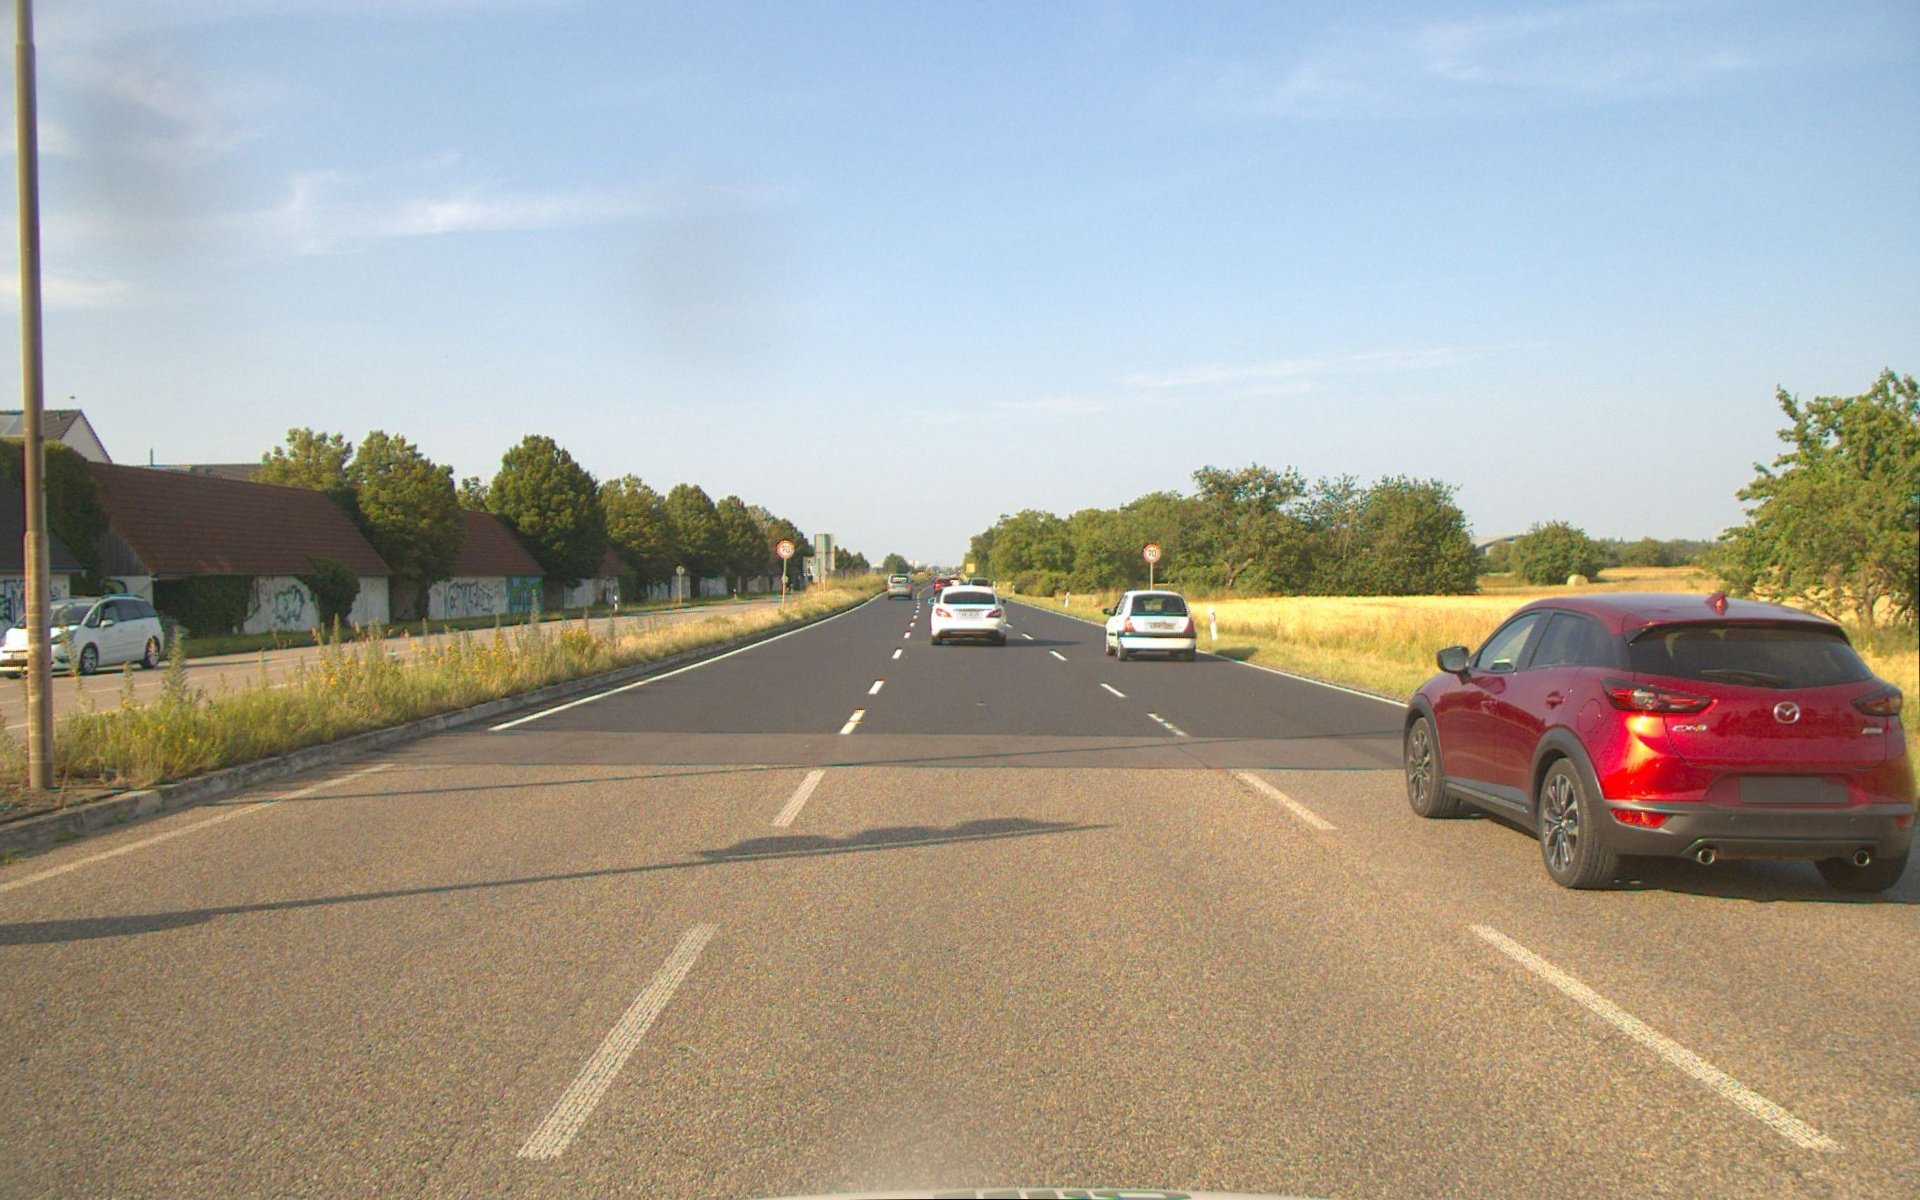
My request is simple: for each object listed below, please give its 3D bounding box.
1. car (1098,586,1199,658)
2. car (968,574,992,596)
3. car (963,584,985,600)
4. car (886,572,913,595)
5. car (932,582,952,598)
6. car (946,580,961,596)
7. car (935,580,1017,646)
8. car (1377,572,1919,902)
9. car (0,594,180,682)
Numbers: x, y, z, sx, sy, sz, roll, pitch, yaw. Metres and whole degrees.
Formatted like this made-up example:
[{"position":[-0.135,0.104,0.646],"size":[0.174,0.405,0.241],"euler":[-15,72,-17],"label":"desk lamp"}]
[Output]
[{"position":[3.895,0.428,34.687],"size":[1.584,1.411,3.950],"euler":[1,0,-1],"label":"car"},{"position":[1.601,-1.188,133.026],"size":[1.791,1.758,3.999],"euler":[1,0,-1],"label":"car"},{"position":[1.400,-0.808,166.358],"size":[1.954,1.613,4.281],"euler":[1,0,-3],"label":"car"},{"position":[-4.514,-1.228,123.675],"size":[1.722,1.646,4.001],"euler":[1,0,1],"label":"car"},{"position":[-1.664,-0.917,153.764],"size":[1.775,1.461,3.857],"euler":[1,0,-1],"label":"car"},{"position":[-0.788,-1.437,203.934],"size":[1.766,1.937,3.559],"euler":[1,0,0],"label":"car"},{"position":[0.365,0.312,41.531],"size":[1.953,1.543,3.999],"euler":[1,0,-1],"label":"car"},{"position":[3.972,0.645,10.020],"size":[1.669,1.532,4.500],"euler":[1,0,-1],"label":"car"},{"position":[-19.298,0.788,36.521],"size":[1.799,1.736,4.757],"euler":[-3,0,0],"label":"car"}]
